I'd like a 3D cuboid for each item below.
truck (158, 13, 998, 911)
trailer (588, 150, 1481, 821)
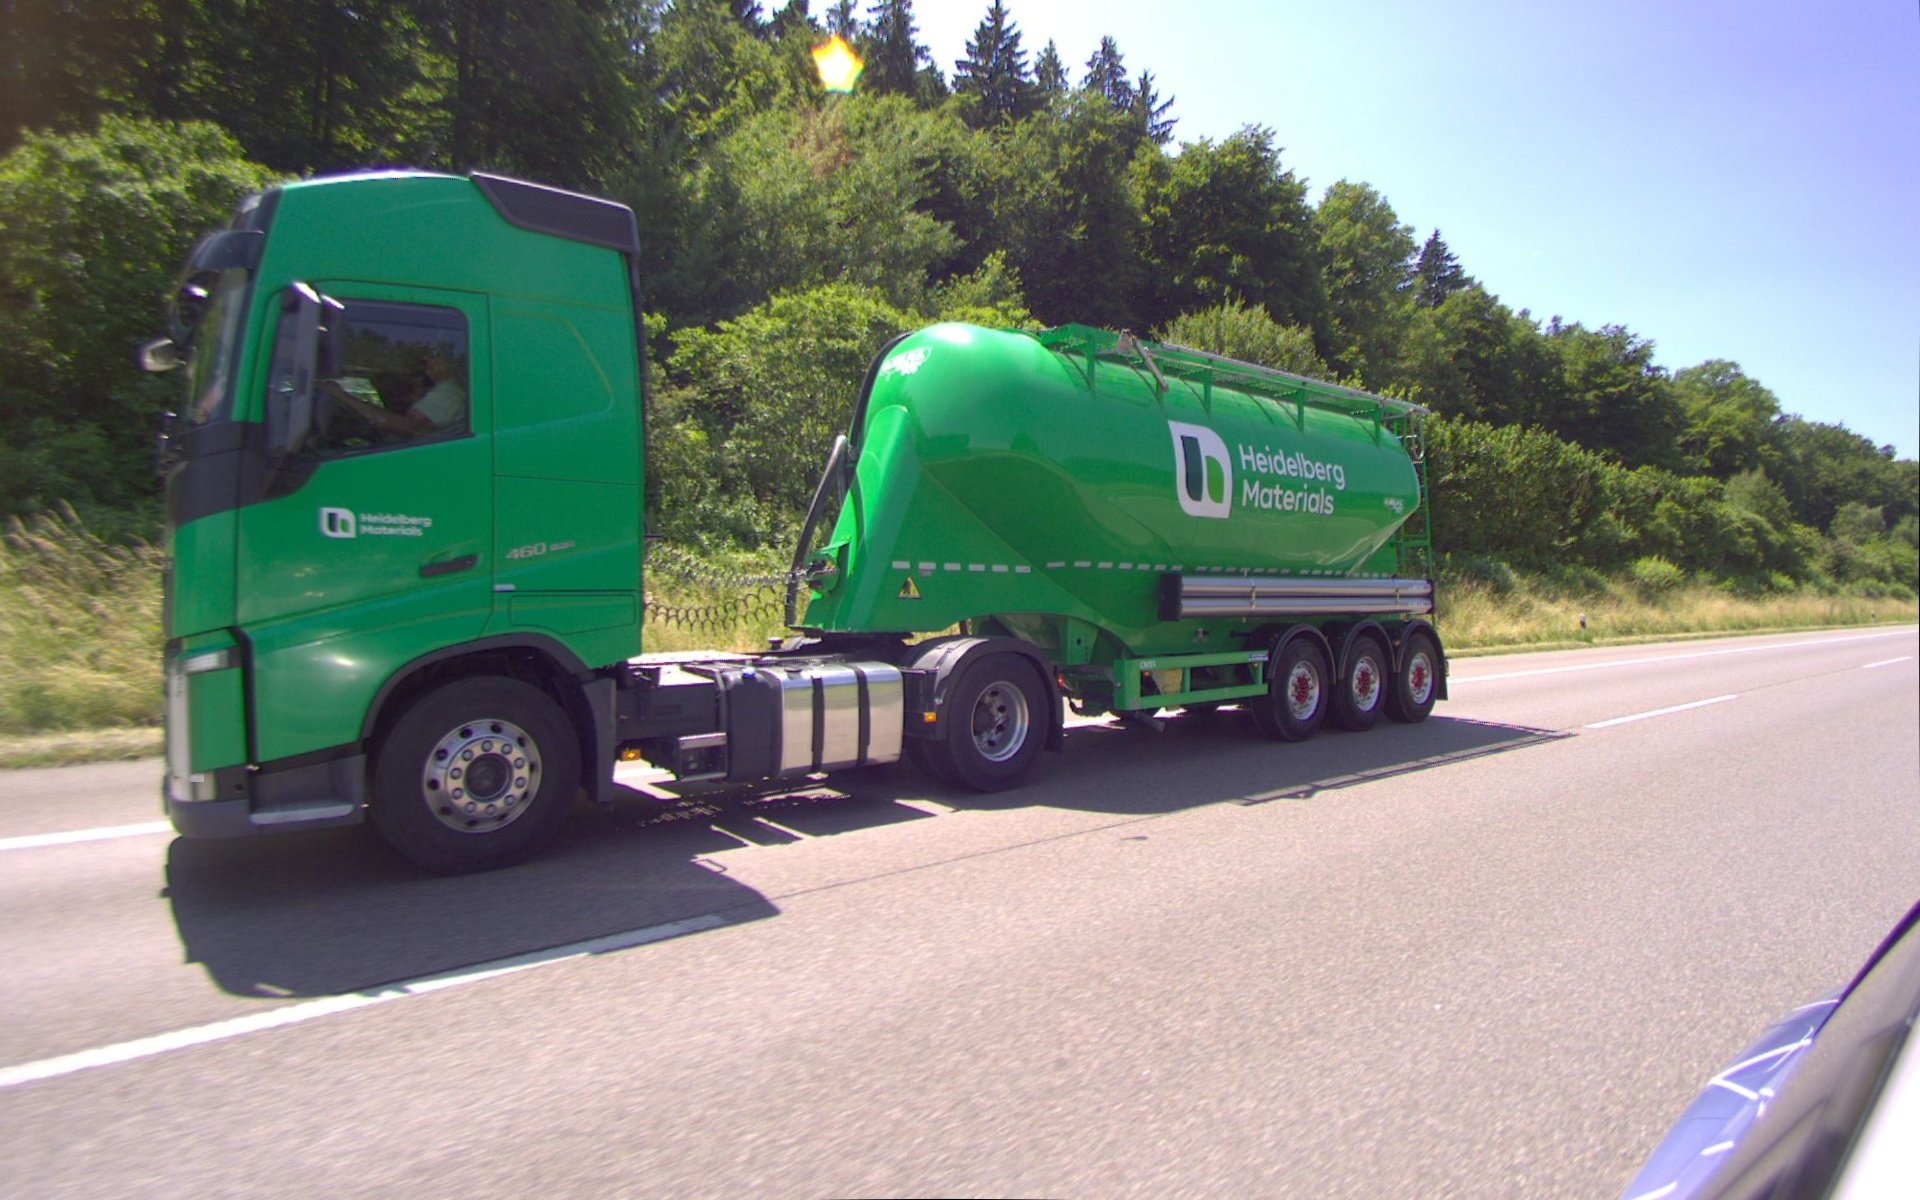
[{"bbox_3d":[-2.345,-0.599,6.920,4.806,3.891,2.514,1,-1,-41],"label":"truck"},{"bbox_3d":[1.781,-0.679,10.445,10.282,4.079,2.592,0,-1,-40],"label":"trailer"}]
